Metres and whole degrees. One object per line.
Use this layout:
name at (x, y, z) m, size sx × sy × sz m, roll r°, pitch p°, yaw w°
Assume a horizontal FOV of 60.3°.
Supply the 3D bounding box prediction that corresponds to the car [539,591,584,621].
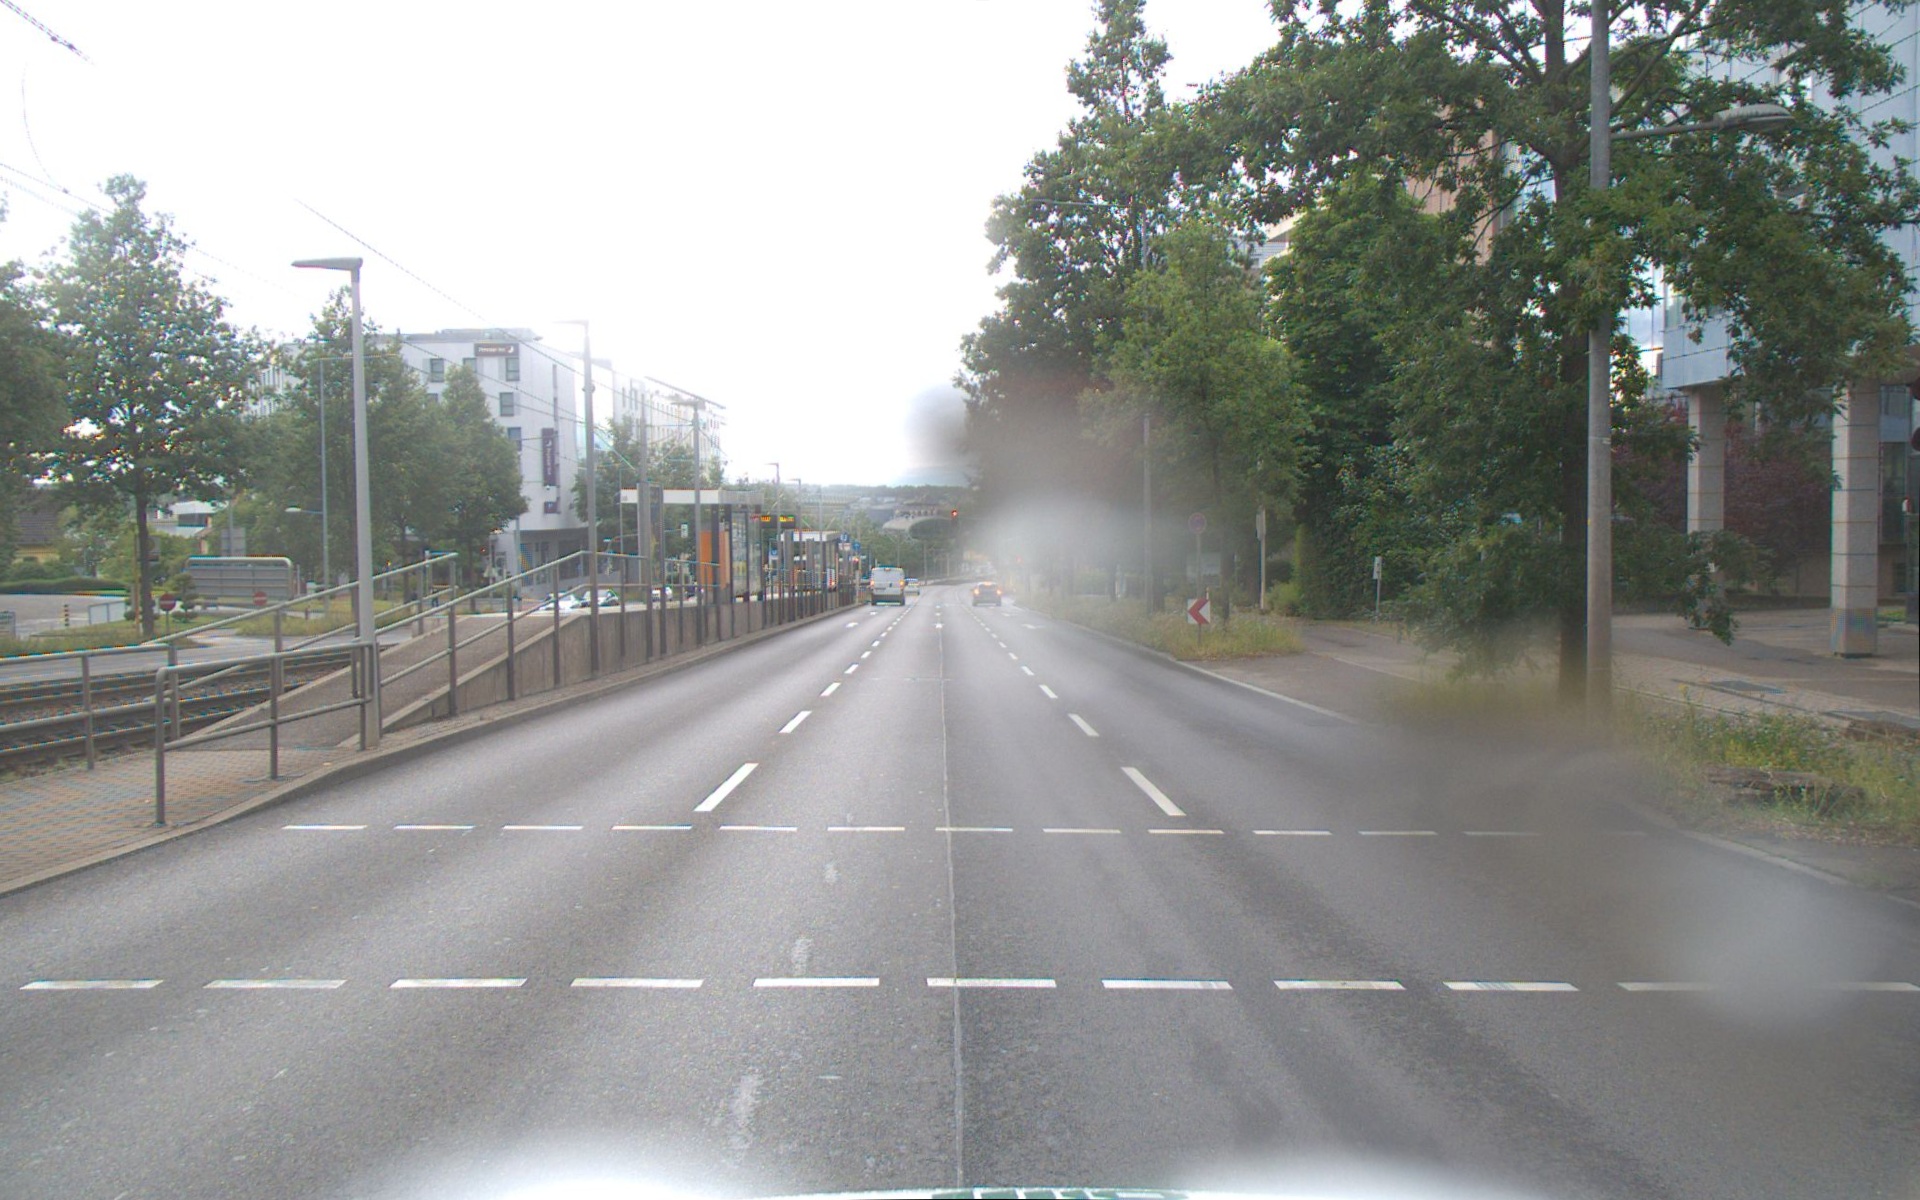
car at (-21.545, 0.308, 89.493) m, size 1.618 × 1.461 × 3.877 m, roll -2°, pitch 1°, yaw -3°

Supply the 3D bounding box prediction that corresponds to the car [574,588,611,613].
car at (-22.030, 0.017, 99.254) m, size 1.536 × 1.402 × 3.517 m, roll 0°, pitch 1°, yaw -3°

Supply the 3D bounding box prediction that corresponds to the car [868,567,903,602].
car at (-4.567, -0.962, 102.173) m, size 2.050 × 2.089 × 4.605 m, roll 0°, pitch 1°, yaw -1°

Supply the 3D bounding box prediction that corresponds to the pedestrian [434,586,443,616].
pedestrian at (-34.858, 0.063, 110.581) m, size 0.465 × 1.954 × 0.490 m, roll 0°, pitch 0°, yaw -1°

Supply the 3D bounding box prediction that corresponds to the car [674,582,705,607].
car at (-17.352, -0.350, 105.882) m, size 1.622 × 1.461 × 3.866 m, roll -2°, pitch 1°, yaw -14°

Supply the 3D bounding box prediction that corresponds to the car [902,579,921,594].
car at (-4.485, -1.287, 154.443) m, size 1.747 × 1.414 × 3.999 m, roll 0°, pitch 1°, yaw -1°

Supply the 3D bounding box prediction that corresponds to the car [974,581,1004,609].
car at (1.784, -0.313, 102.984) m, size 1.738 × 1.720 × 3.845 m, roll 0°, pitch 1°, yaw -1°

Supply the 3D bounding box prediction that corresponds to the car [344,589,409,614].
car at (-33.667, 0.097, 95.418) m, size 3.297 × 1.411 × 1.434 m, roll 0°, pitch 1°, yaw 16°
